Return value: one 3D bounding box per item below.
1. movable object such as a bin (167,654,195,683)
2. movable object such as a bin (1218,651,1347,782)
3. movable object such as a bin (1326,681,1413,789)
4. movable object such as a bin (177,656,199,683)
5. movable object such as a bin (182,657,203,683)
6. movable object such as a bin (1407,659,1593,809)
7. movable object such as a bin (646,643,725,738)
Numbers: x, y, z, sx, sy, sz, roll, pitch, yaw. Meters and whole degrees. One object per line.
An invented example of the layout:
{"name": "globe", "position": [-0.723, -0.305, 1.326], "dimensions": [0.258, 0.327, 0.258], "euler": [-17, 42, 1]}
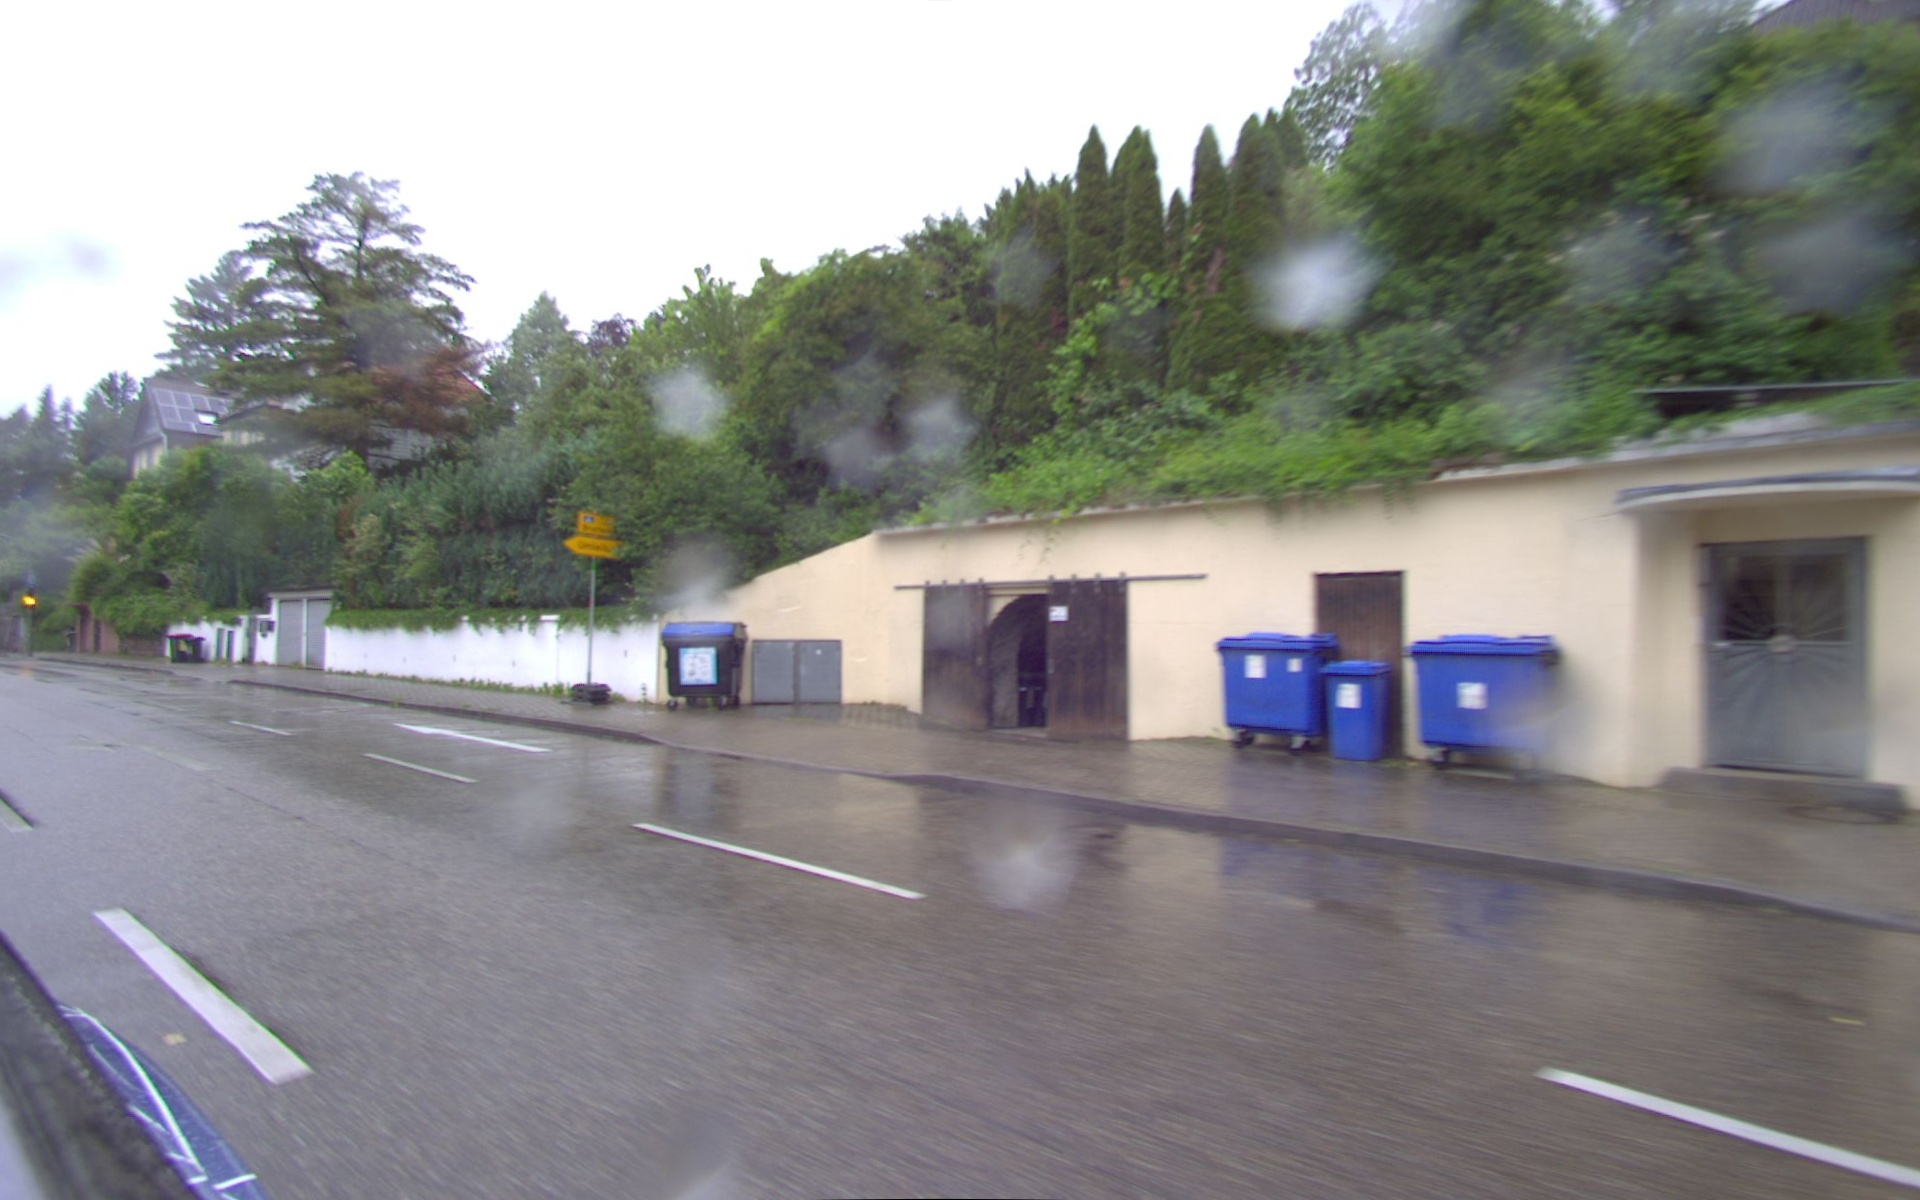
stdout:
{"name": "movable object such as a bin", "position": [-29.004, 2.549, 37.691], "dimensions": [0.656, 1.048, 0.674], "euler": [-2, -2, 38]}
{"name": "movable object such as a bin", "position": [3.702, 1.295, 11.652], "dimensions": [0.811, 1.392, 1.135], "euler": [2, -3, -44]}
{"name": "movable object such as a bin", "position": [4.404, 1.426, 10.875], "dimensions": [0.727, 1.050, 0.608], "euler": [1, -2, -44]}
{"name": "movable object such as a bin", "position": [-28.390, 2.559, 37.227], "dimensions": [0.416, 0.947, 0.537], "euler": [-2, -2, 38]}
{"name": "movable object such as a bin", "position": [-28.008, 2.544, 36.944], "dimensions": [0.416, 0.905, 0.526], "euler": [-2, -2, 38]}
{"name": "movable object such as a bin", "position": [5.278, 1.255, 9.931], "dimensions": [0.811, 1.325, 1.403], "euler": [2, -3, -44]}
{"name": "movable object such as a bin", "position": [-4.560, 1.477, 16.808], "dimensions": [0.861, 1.456, 0.923], "euler": [-1, 1, 40]}
